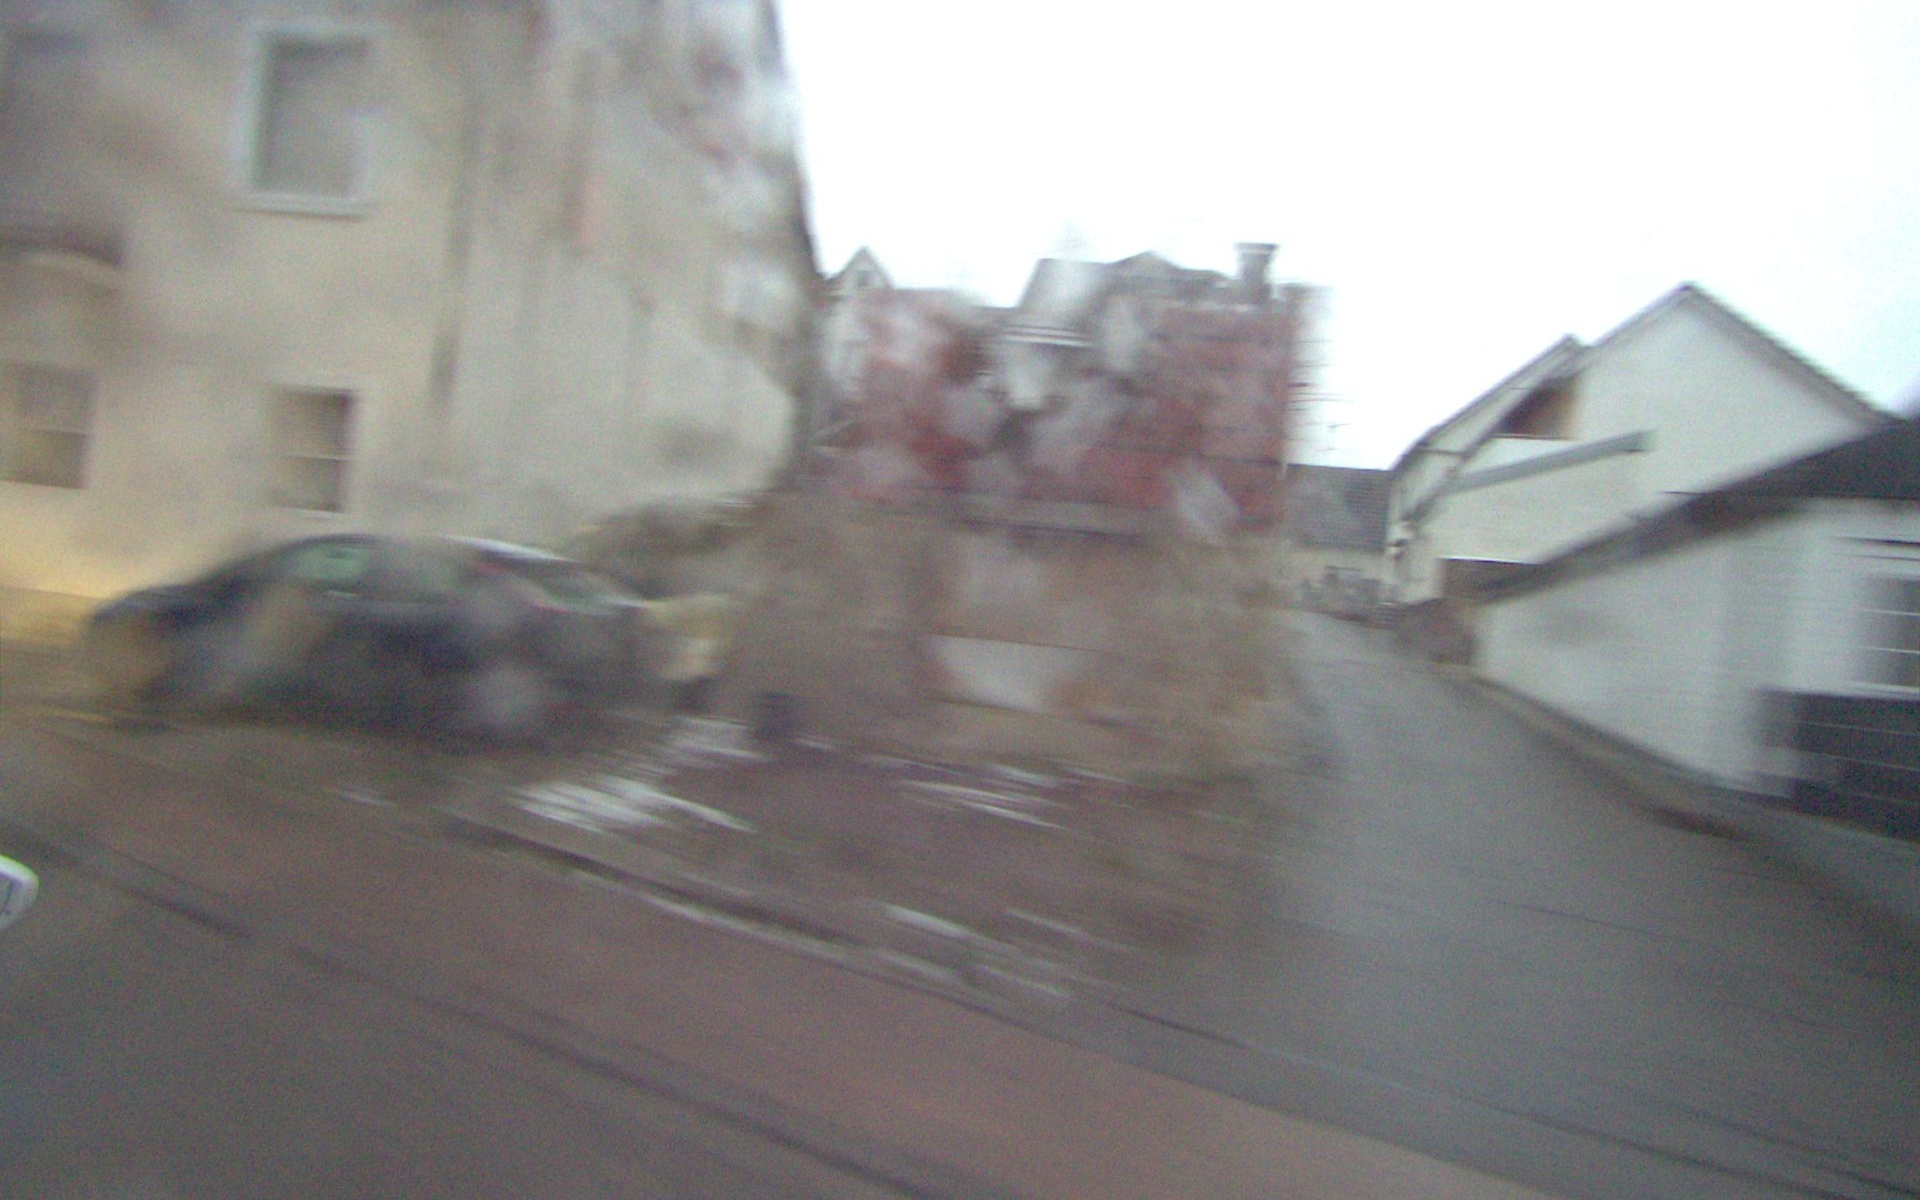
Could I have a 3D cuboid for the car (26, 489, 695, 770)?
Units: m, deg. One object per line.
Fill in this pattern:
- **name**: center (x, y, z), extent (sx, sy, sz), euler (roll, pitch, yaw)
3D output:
- **car**: center (-4.486, 0.179, 7.849), extent (4.196, 1.506, 1.813), euler (6, 0, 8)
